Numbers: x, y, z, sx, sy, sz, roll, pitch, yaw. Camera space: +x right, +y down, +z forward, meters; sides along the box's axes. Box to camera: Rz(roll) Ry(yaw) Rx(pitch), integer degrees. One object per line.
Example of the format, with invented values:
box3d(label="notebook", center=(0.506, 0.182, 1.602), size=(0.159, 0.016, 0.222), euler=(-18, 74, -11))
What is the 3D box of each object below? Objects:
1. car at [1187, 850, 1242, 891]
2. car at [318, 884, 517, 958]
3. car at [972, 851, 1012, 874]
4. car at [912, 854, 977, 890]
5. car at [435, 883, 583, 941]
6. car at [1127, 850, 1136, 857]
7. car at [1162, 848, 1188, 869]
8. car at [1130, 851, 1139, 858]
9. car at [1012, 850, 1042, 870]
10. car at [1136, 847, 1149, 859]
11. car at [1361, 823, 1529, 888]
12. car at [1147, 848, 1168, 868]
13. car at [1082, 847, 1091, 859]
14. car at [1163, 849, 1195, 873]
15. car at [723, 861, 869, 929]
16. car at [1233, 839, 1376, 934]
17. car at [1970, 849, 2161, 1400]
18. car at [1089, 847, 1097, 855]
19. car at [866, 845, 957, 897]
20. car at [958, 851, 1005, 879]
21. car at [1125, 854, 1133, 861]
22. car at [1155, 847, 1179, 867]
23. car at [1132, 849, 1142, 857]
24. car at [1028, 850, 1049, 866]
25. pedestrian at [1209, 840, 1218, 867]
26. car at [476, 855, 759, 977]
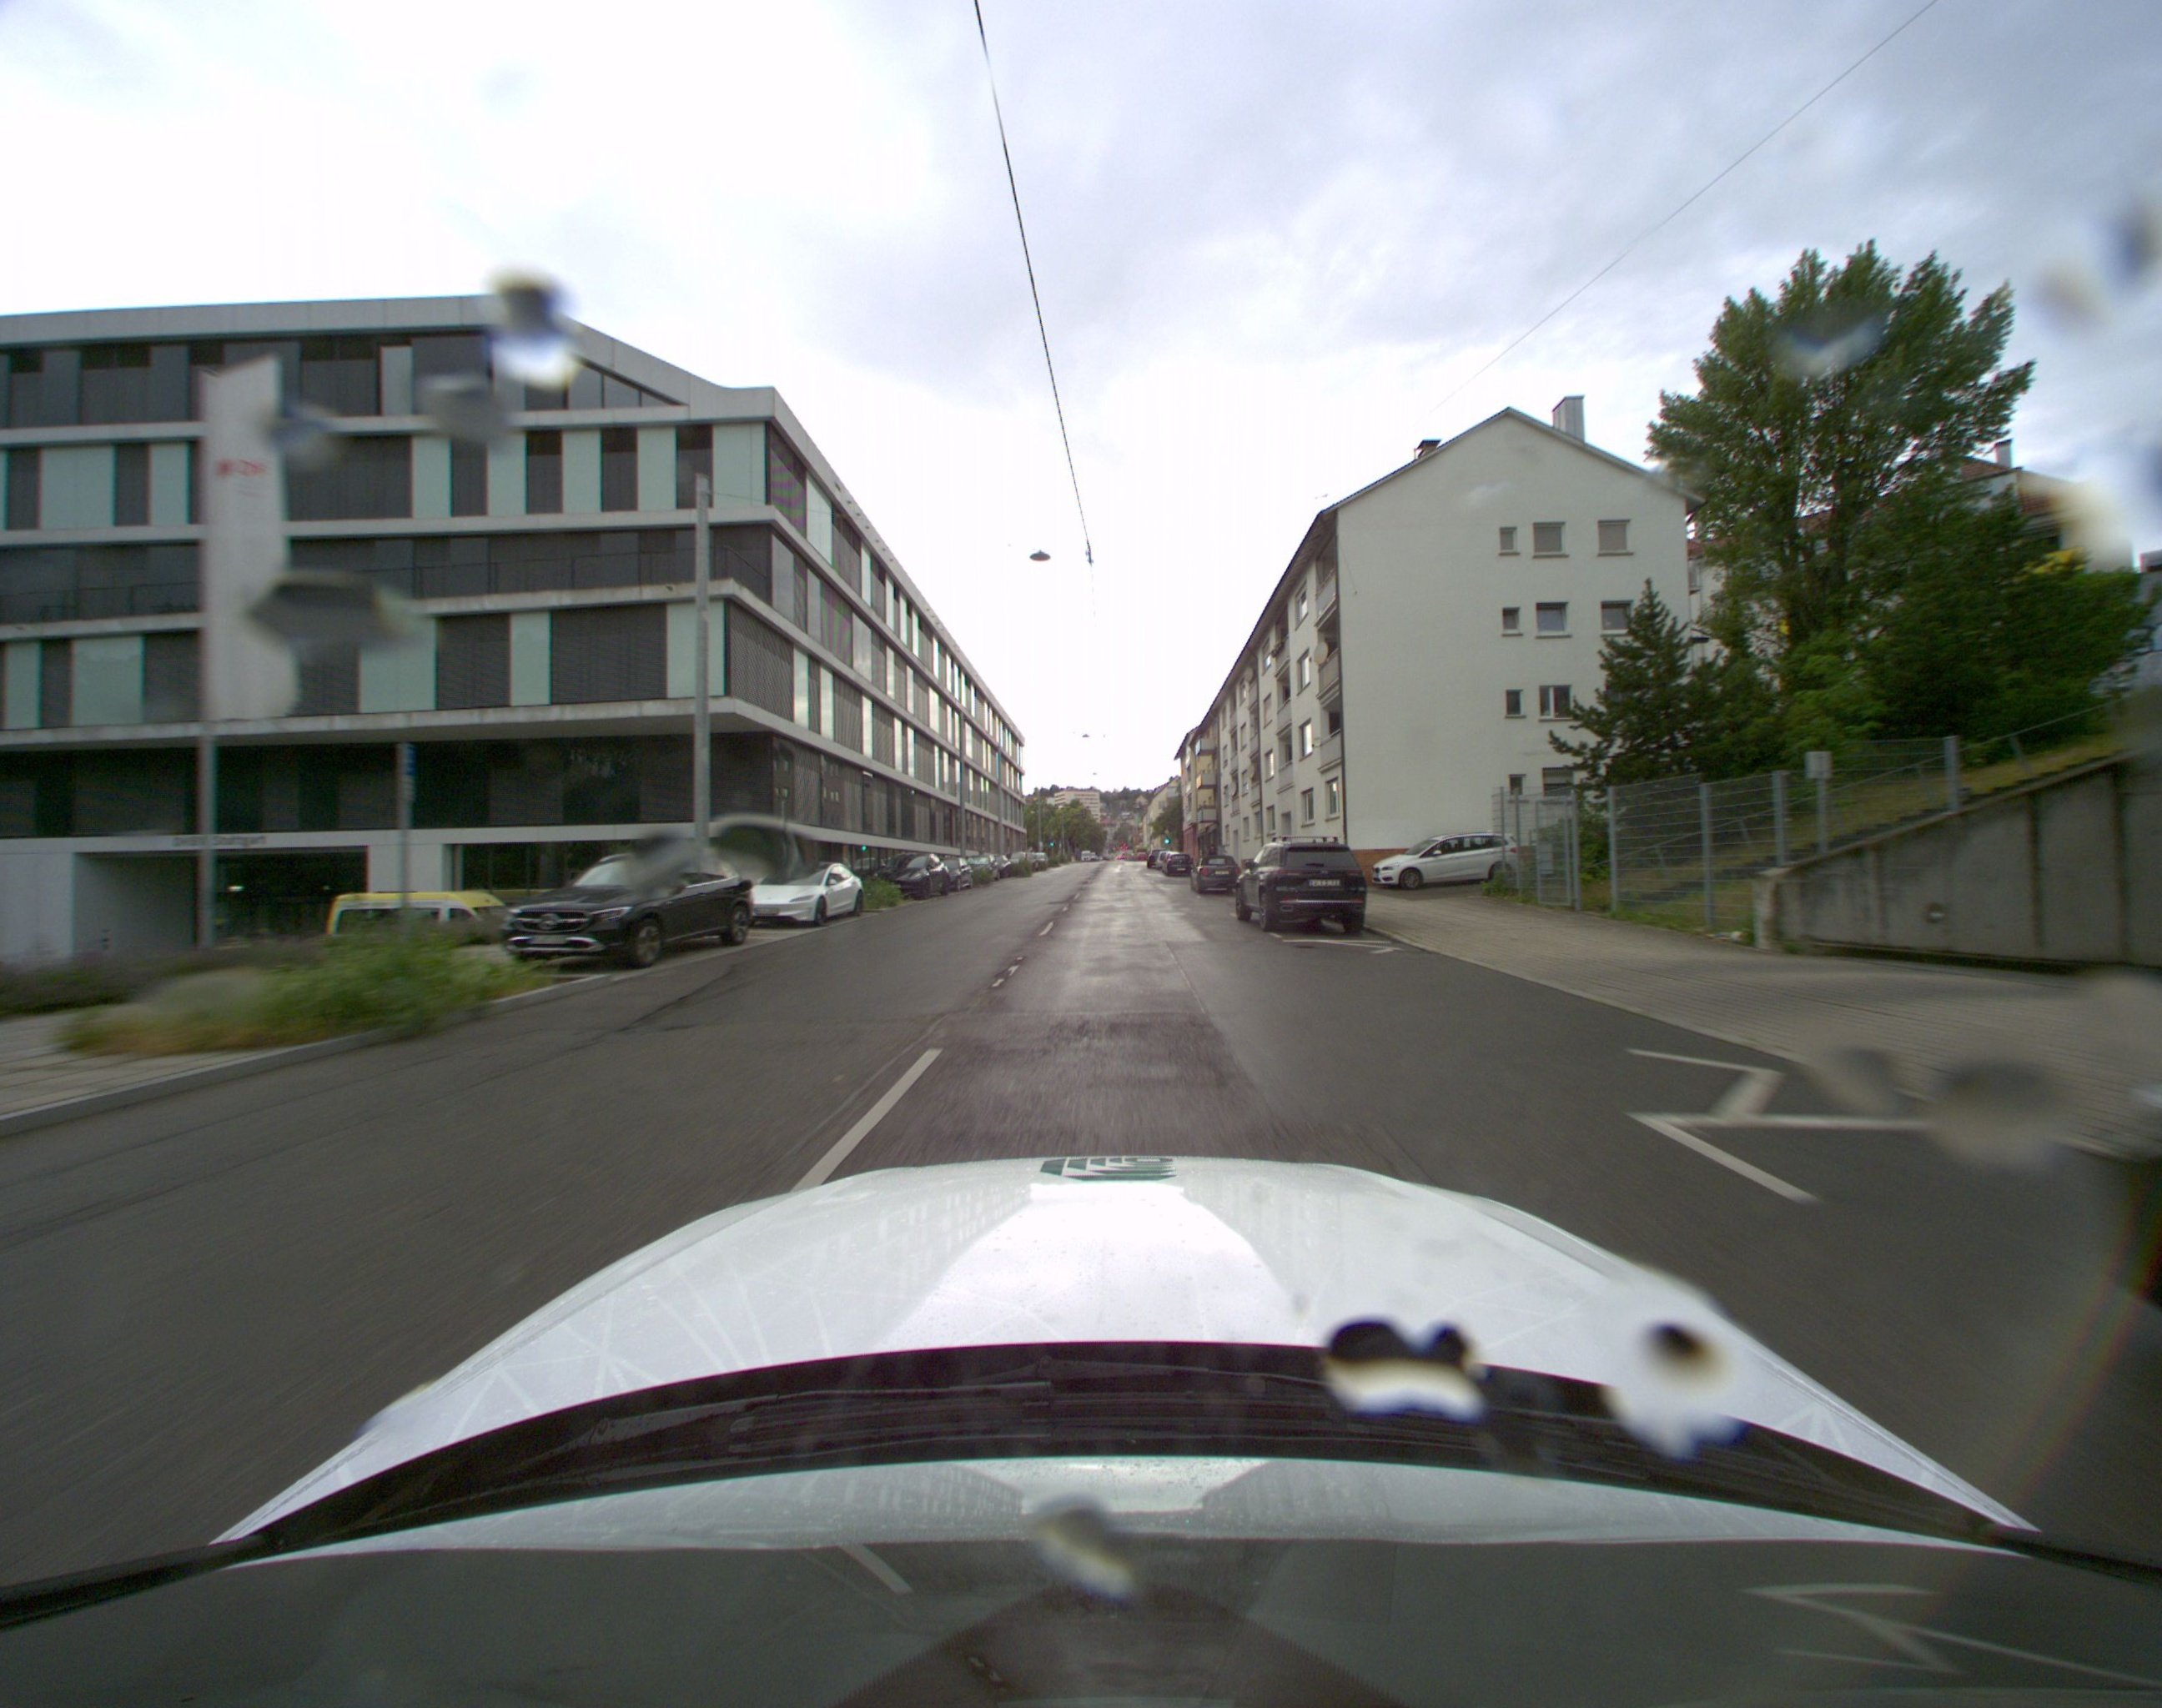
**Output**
box3d(label="car", center=(5.228, 0.618, 32.226), size=(1.667, 1.459, 3.766), euler=(-1, 1, 2))
box3d(label="car", center=(-20.948, 2.080, 25.881), size=(4.580, 2.174, 1.929), euler=(0, 0, -4))
box3d(label="car", center=(-5.566, 0.505, 51.541), size=(1.830, 1.396, 4.395), euler=(0, 0, 3))
box3d(label="car", center=(-5.913, 0.735, 35.841), size=(1.864, 1.472, 4.744), euler=(0, 0, 3))
box3d(label="car", center=(-20.934, 2.107, 29.906), size=(4.325, 2.032, 1.599), euler=(0, 0, 2))
box3d(label="car", center=(12.031, -0.030, 194.055), size=(1.858, 1.604, 4.195), euler=(0, 0, 5))
box3d(label="car", center=(6.579, 0.288, 57.135), size=(1.576, 1.413, 3.656), euler=(0, 0, 2))
box3d(label="car", center=(11.687, 0.108, 178.853), size=(1.858, 1.604, 4.195), euler=(0, 0, 5))
box3d(label="car", center=(-4.427, 0.486, 67.206), size=(1.793, 1.604, 4.240), euler=(0, 0, 5))
box3d(label="car", center=(9.419, -0.179, 124.003), size=(1.858, 1.770, 4.195), euler=(0, 0, 5))
box3d(label="car", center=(11.468, 0.051, 25.874), size=(4.422, 1.712, 1.906), euler=(-4, 0, 1))
box3d(label="car", center=(6.769, 0.333, 72.467), size=(1.648, 1.737, 4.182), euler=(-1, 1, 2))
box3d(label="car", center=(1.196, -0.146, 179.957), size=(2.098, 2.546, 4.750), euler=(0, 0, 0))
box3d(label="car", center=(6.172, 0.413, 51.834), size=(1.699, 1.454, 3.987), euler=(0, 0, 2))
box3d(label="car", center=(-6.731, 0.898, 19.767), size=(1.813, 1.419, 4.405), euler=(0, 0, 3))
box3d(label="car", center=(4.596, 0.602, 17.516), size=(1.928, 1.750, 4.799), euler=(0, 0, 2))
box3d(label="car", center=(3.844, 0.752, 0.598), size=(1.737, 1.533, 4.320), euler=(0, 0, 1))
box3d(label="car", center=(3.228, -0.751, 218.802), size=(1.861, 2.141, 4.356), euler=(0, 0, -1))
box3d(label="car", center=(-6.089, 0.578, 29.890), size=(1.953, 1.750, 4.948), euler=(0, 0, 5))
box3d(label="car", center=(-5.474, 0.594, 45.185), size=(1.855, 1.489, 4.349), euler=(0, 0, 3))
box3d(label="car", center=(12.036, 0.841, 202.214), size=(1.858, 1.604, 4.195), euler=(0, 0, 5))
box3d(label="car", center=(6.911, 0.254, 65.748), size=(1.628, 1.571, 3.713), euler=(0, 0, 2))
box3d(label="car", center=(10.942, -0.140, 159.332), size=(1.858, 1.604, 4.195), euler=(0, 0, 5))
box3d(label="car", center=(-4.070, 0.361, 78.128), size=(1.588, 1.459, 3.723), euler=(0, 1, 4))
box3d(label="pedestrian", center=(9.545, -0.036, 58.695), size=(0.636, 1.870, 0.539), euler=(0, -1, 4))
box3d(label="car", center=(-7.096, 0.836, 13.142), size=(1.842, 1.617, 4.494), euler=(0, 0, 3))
